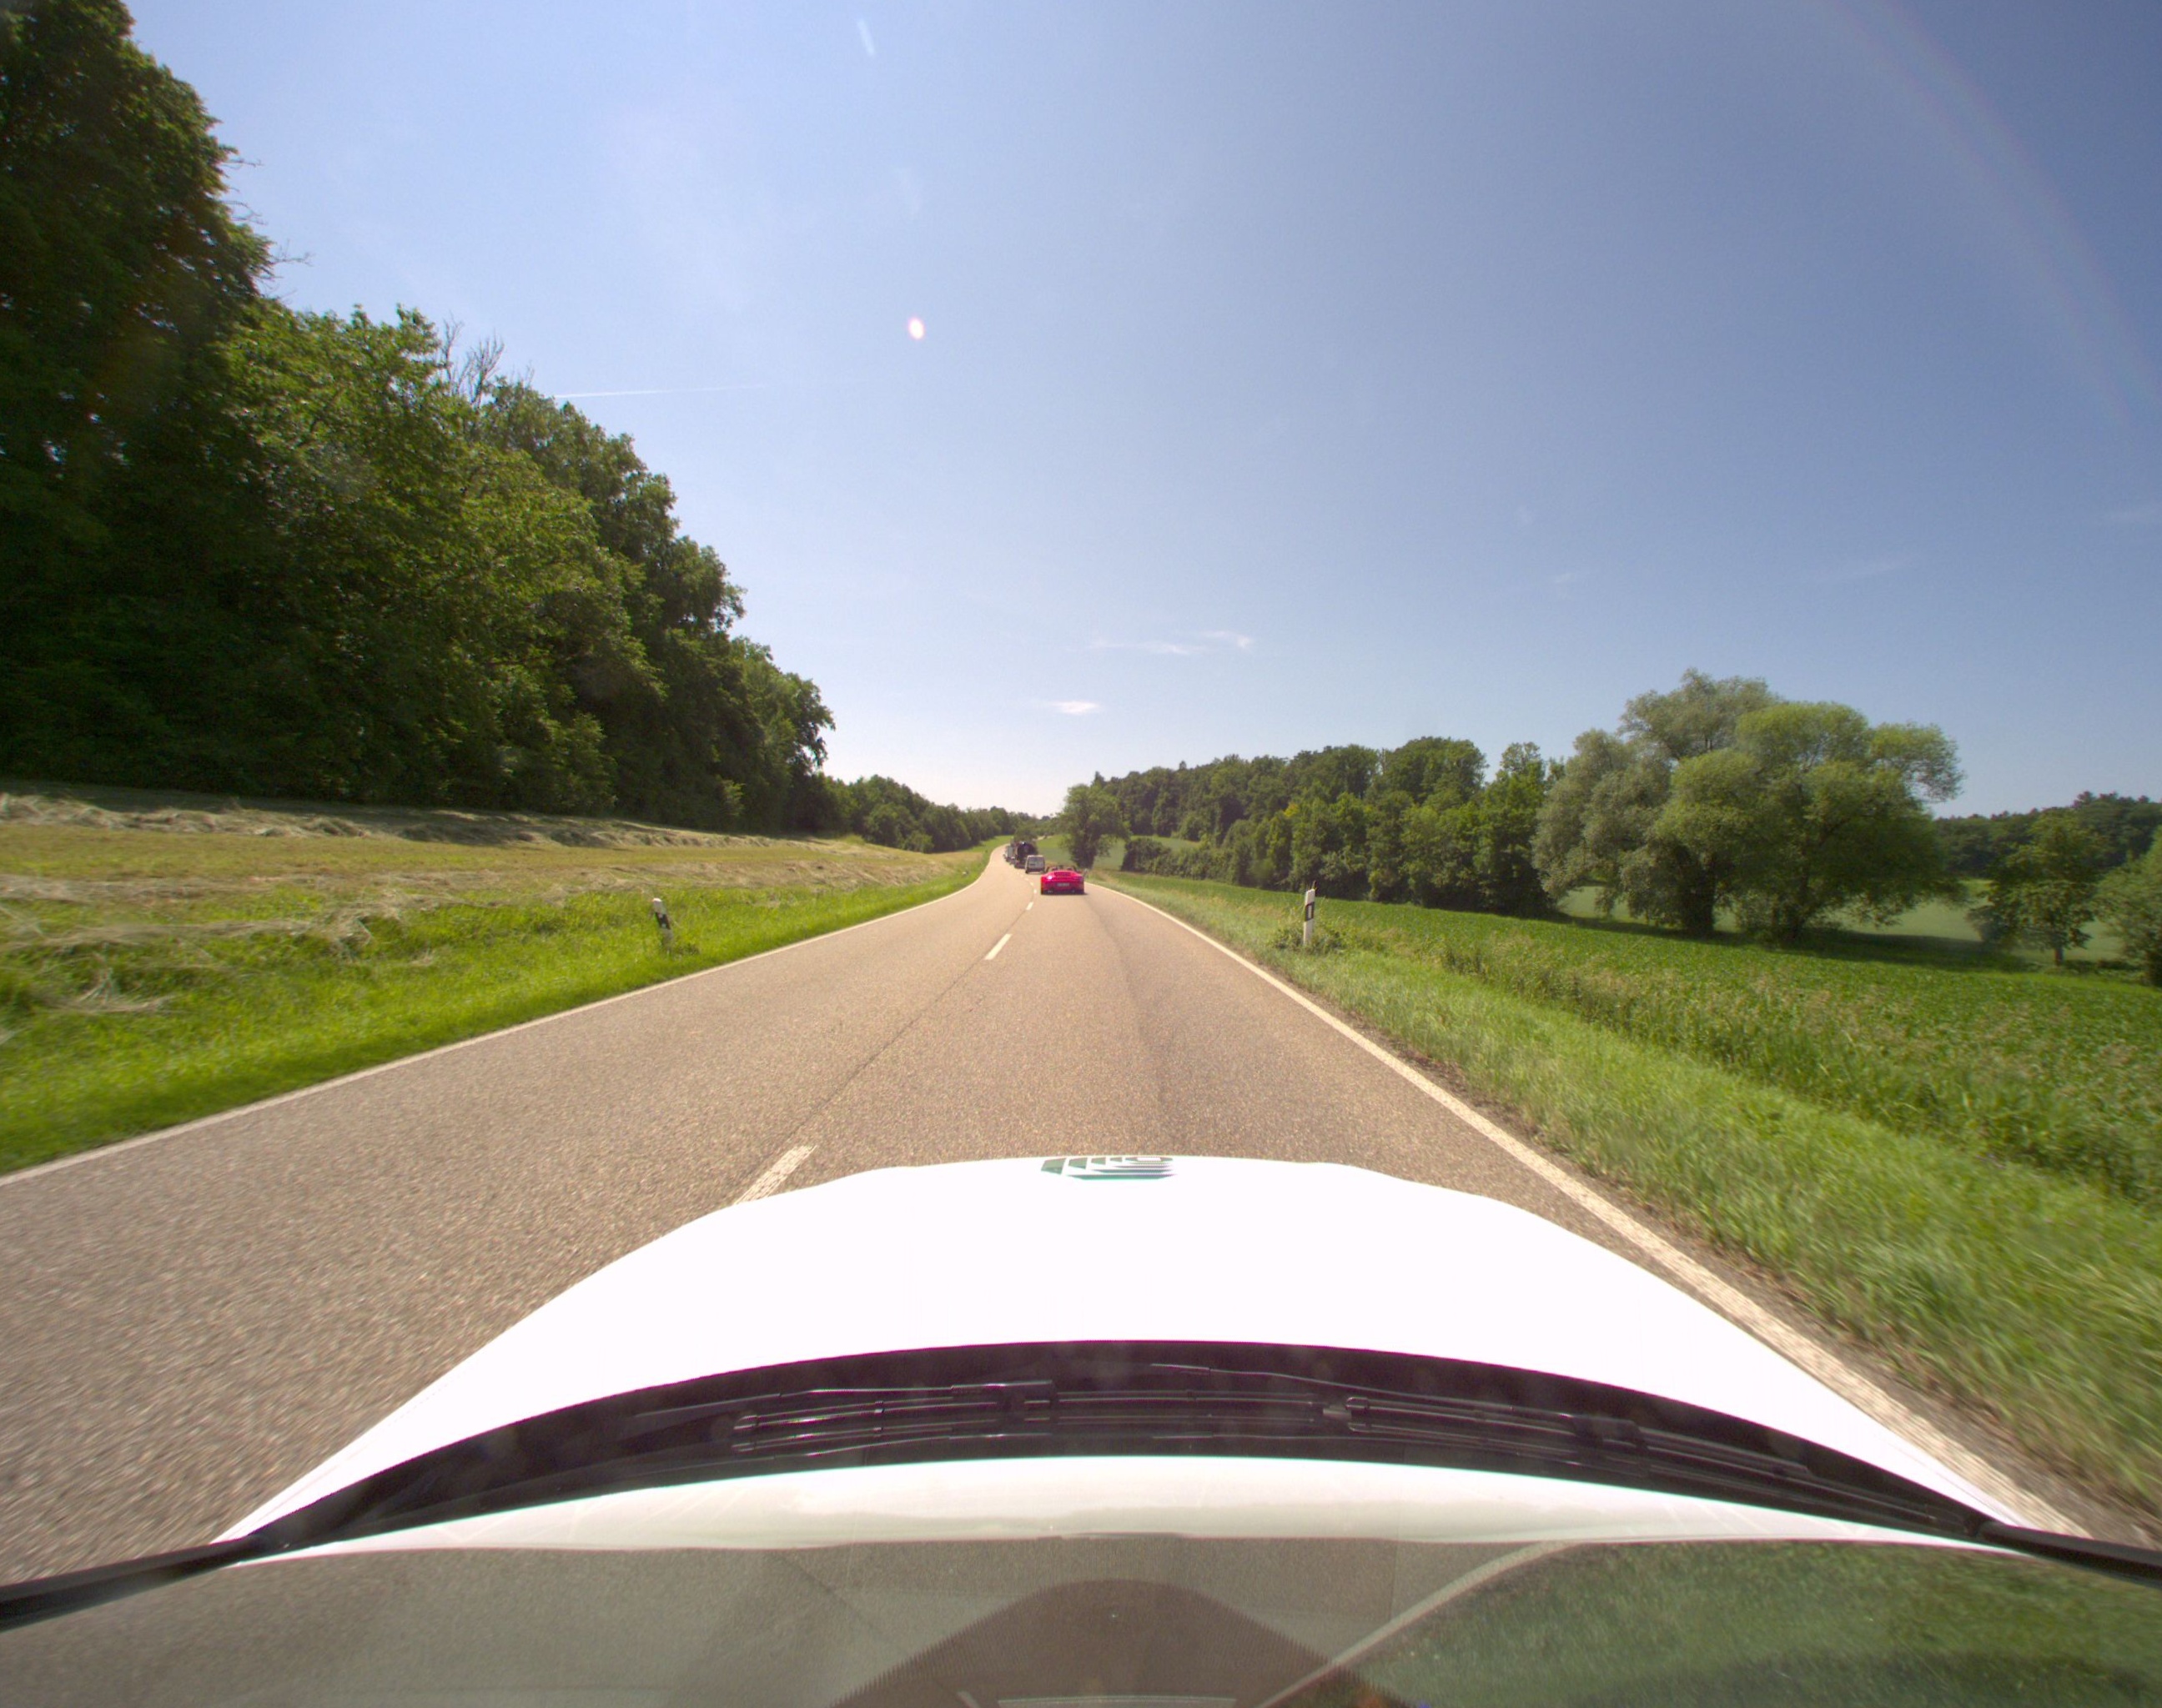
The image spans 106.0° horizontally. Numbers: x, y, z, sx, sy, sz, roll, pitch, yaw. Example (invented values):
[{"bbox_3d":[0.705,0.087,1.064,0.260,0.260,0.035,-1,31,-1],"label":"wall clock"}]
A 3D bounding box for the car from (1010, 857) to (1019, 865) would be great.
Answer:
[{"bbox_3d":[-13.598,1.460,166.884,1.720,1.585,4.151,0,0,-6],"label":"car"}]

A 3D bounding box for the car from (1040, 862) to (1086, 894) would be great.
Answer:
[{"bbox_3d":[-0.756,1.010,35.810,1.876,1.255,4.009,0,0,0],"label":"car"}]

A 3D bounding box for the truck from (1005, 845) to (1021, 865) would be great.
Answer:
[{"bbox_3d":[-17.295,0.075,206.419,3.721,4.659,12.006,0,2,-6],"label":"truck"}]

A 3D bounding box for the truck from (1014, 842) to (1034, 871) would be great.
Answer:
[{"bbox_3d":[-8.523,0.245,120.612,2.402,4.049,12.521,0,1,-7],"label":"truck"}]

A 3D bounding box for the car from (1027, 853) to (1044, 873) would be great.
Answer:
[{"bbox_3d":[-4.713,0.904,83.919,1.675,1.900,4.004,0,0,-3],"label":"car"}]
